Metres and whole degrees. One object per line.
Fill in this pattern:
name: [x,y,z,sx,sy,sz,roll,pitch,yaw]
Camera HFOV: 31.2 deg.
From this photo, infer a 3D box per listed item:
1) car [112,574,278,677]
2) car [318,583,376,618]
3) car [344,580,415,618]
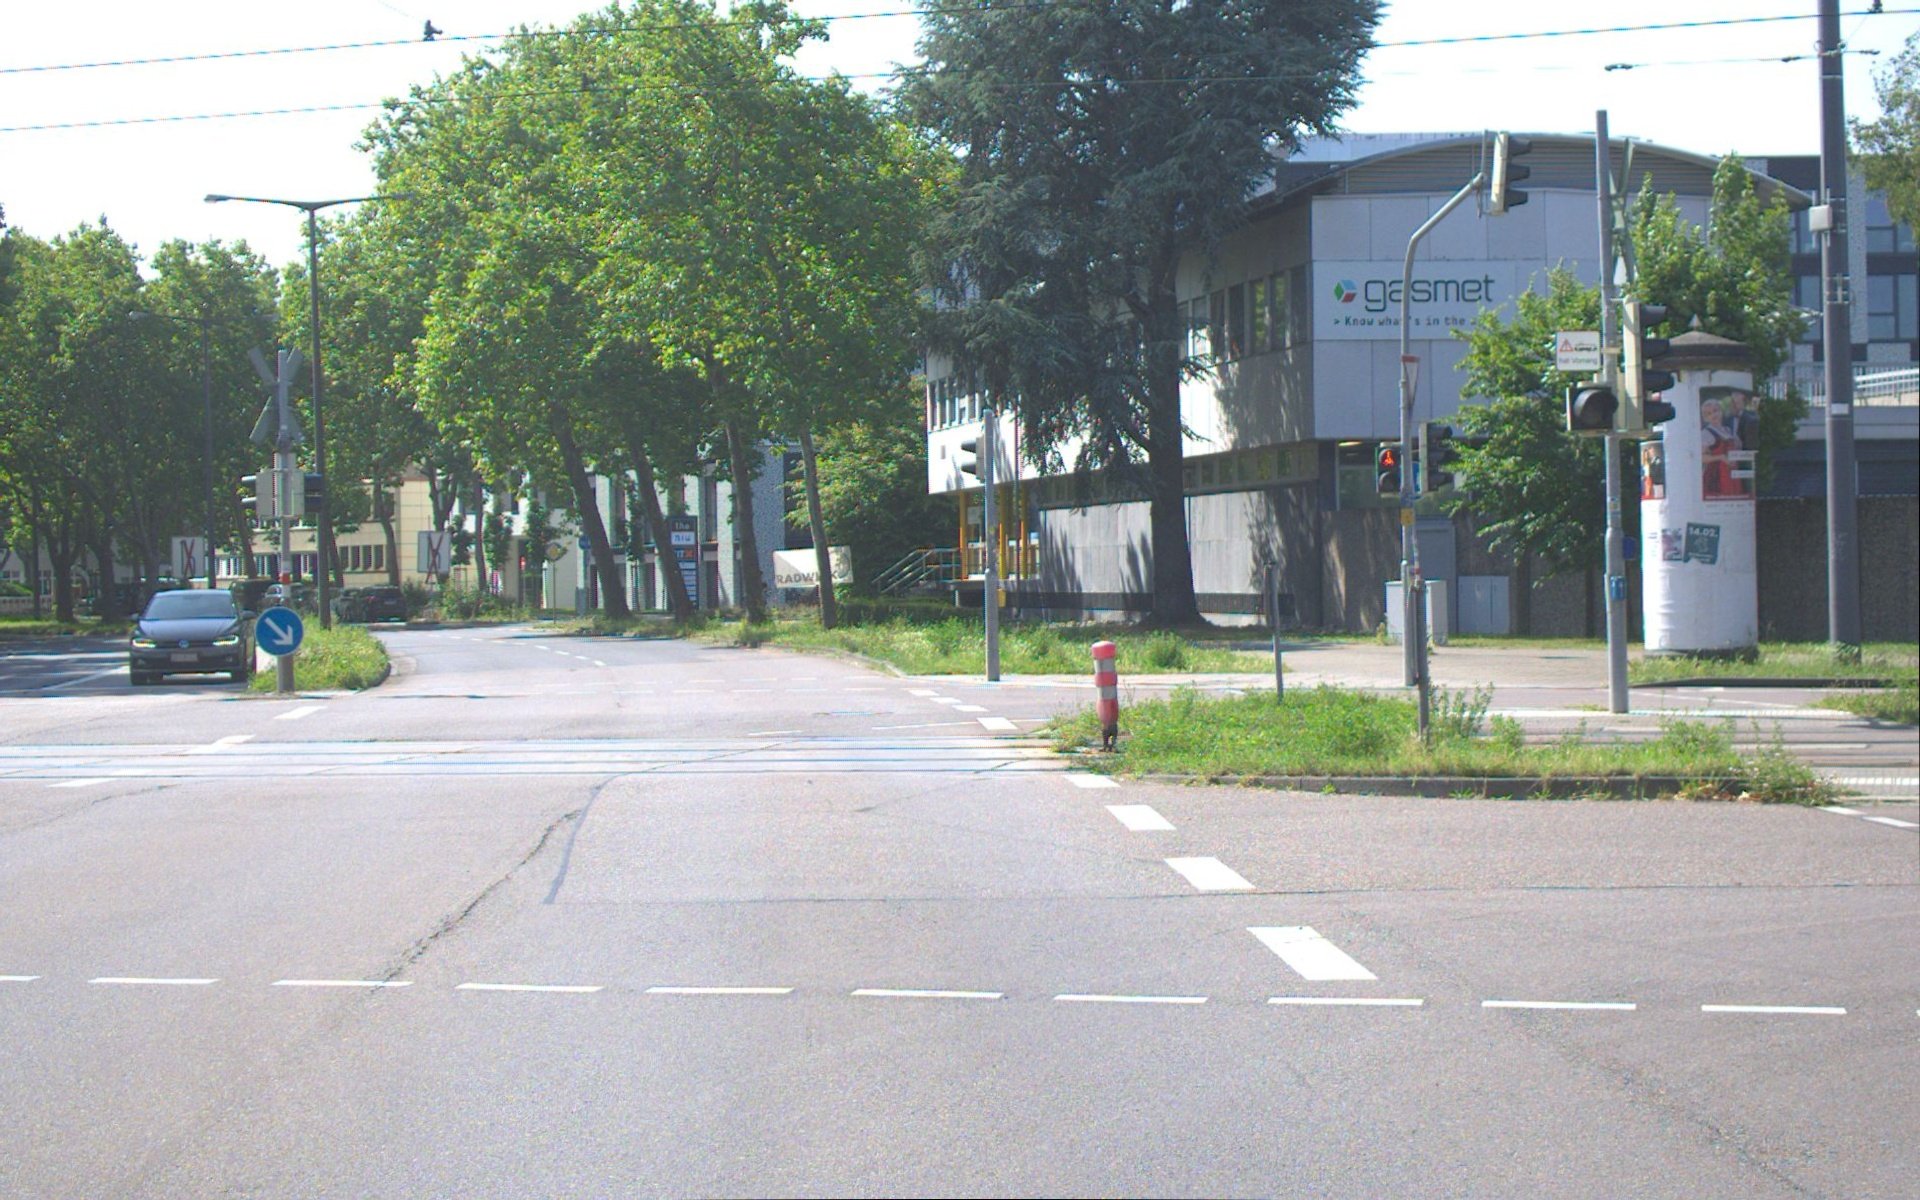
car: [-11.885,0.372,53.639,1.694,1.503,4.130,-1,1,-1]
car: [-26.520,0.012,148.624,1.706,1.482,4.102,-2,1,-21]
car: [-24.269,-0.054,143.543,1.706,1.482,4.720,-3,1,-25]
